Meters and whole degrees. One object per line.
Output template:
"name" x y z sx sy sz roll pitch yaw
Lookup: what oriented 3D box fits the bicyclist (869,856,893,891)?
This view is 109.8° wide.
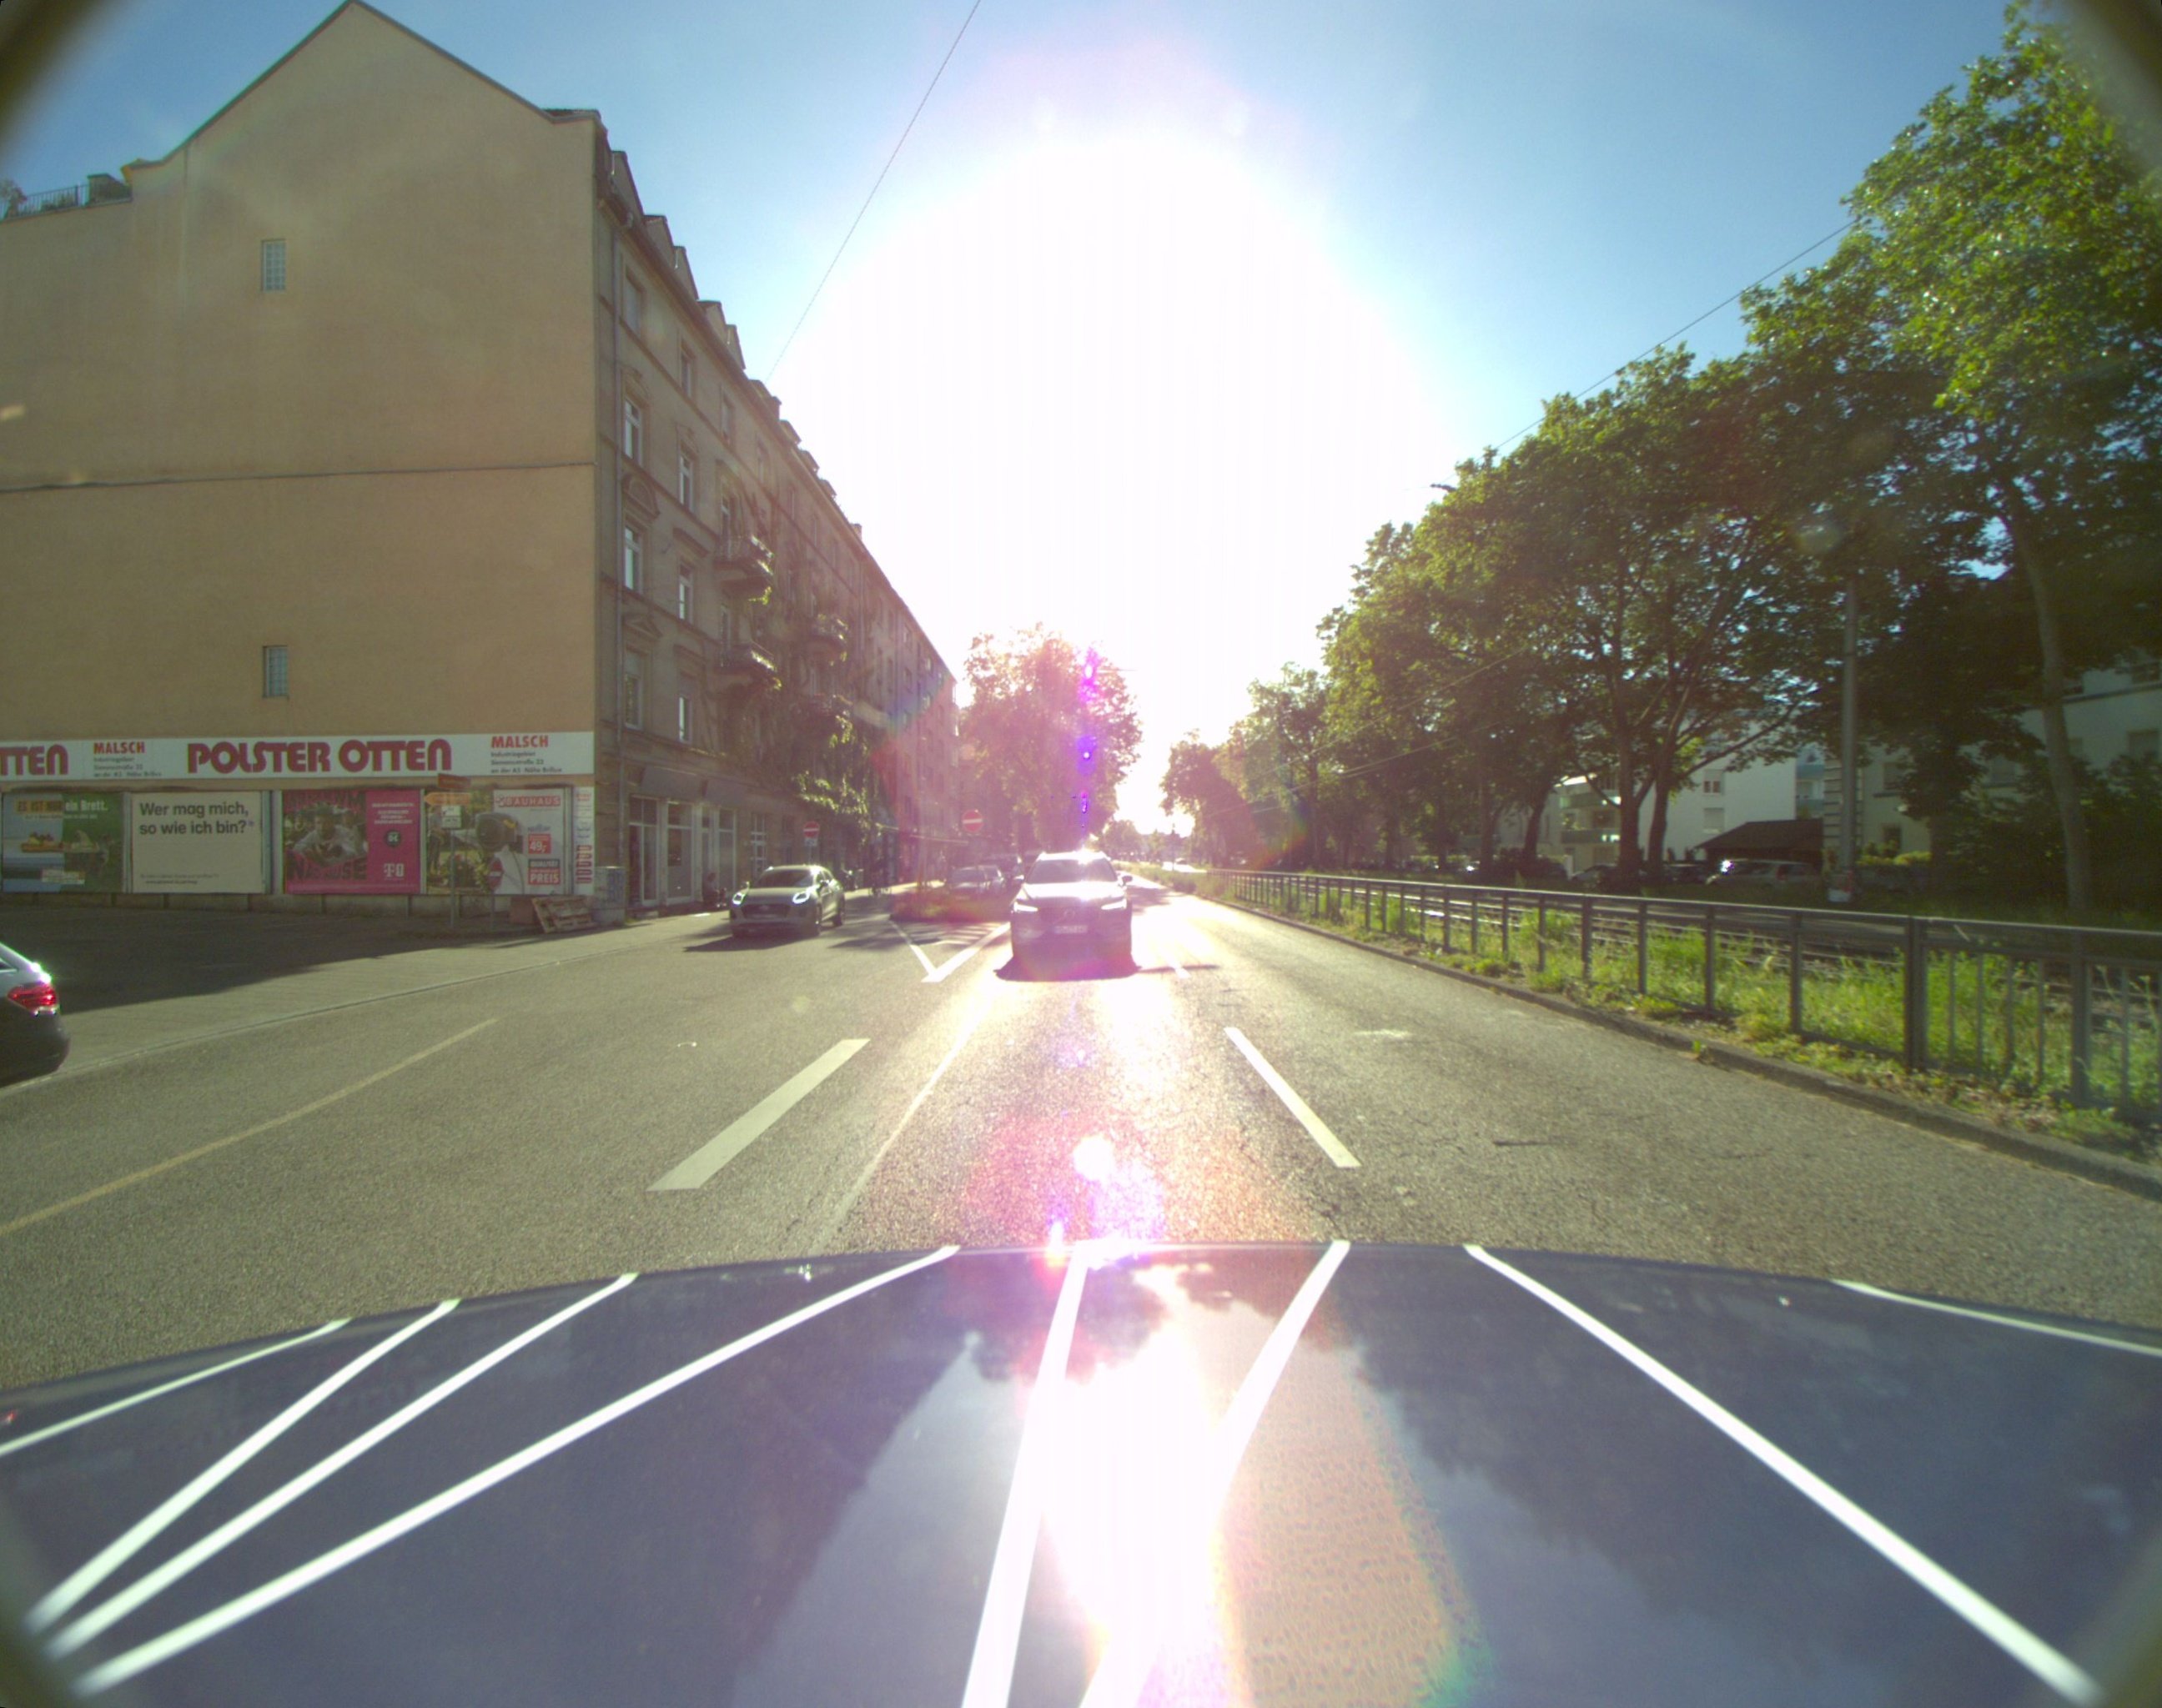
"bicyclist" -8.610 0.828 32.709 0.746 1.453 0.951 -1 1 2

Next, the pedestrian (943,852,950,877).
"pedestrian" -9.987 0.793 56.444 0.470 1.822 0.516 0 0 1

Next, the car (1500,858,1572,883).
"car" 28.460 1.000 47.659 1.998 1.444 4.319 0 0 1

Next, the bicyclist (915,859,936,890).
"bicyclist" -7.459 0.971 36.569 0.678 1.437 1.182 4 0 1

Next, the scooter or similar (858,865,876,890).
"scooter or similar" -10.691 1.159 37.867 0.638 1.167 1.731 0 0 -24

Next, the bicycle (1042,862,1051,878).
"bicycle" -2.578 1.205 57.382 0.466 1.206 1.751 0 0 4

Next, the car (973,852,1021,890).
"car" -4.118 0.798 37.696 1.869 1.753 4.000 0 0 1

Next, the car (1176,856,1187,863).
"car" 23.249 1.272 176.581 1.862 1.637 4.460 0 0 -1

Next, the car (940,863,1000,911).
"car" -4.010 1.157 28.017 1.645 1.508 3.999 -3 0 -1

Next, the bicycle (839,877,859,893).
"bicycle" -11.009 1.457 36.142 0.469 0.701 1.513 0 0 1

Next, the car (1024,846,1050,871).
"car" -4.334 0.414 76.227 2.079 2.420 5.856 -1 0 1

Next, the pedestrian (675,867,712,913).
"pedestrian" -11.123 1.019 21.824 0.717 1.253 0.713 -2 0 -7

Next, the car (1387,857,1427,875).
"car" 28.551 1.029 66.687 1.801 1.464 4.000 0 0 1

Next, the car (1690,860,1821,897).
"car" 28.343 1.000 32.129 1.739 1.432 4.319 0 0 1

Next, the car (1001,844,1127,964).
"car" -0.203 0.760 13.698 1.876 1.788 4.633 0 0 1

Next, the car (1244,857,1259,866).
"car" 28.133 1.172 125.359 1.771 1.477 3.688 0 0 1

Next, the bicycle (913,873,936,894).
"bicycle" -7.464 1.409 36.409 0.651 0.914 1.918 0 0 2

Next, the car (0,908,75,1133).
"car" -8.260 1.108 3.137 1.837 1.478 4.734 2 0 1

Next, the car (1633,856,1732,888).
"car" 28.388 0.803 36.009 1.779 1.456 3.697 0 0 1

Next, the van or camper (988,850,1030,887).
"van or camper" -4.012 0.768 43.221 1.888 2.002 5.094 0 0 0

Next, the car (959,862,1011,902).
"car" -4.029 1.141 32.468 1.743 1.508 3.999 -3 0 -1

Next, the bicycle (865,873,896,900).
"bicycle" -8.605 1.396 32.693 0.758 1.095 1.954 0 0 2

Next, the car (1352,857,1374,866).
"car" 28.433 0.718 76.575 1.109 0.871 3.060 0 0 1

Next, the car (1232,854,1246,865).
"car" 28.115 0.934 135.130 1.998 2.002 4.002 0 0 5

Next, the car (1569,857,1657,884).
"car" 28.527 0.862 40.958 1.644 1.316 4.461 2 0 1

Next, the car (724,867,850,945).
"car" -6.780 1.125 18.027 1.703 1.519 4.378 -1 0 -7

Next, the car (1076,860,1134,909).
"car" 0.724 0.947 25.223 1.608 1.446 3.780 0 1 -3
